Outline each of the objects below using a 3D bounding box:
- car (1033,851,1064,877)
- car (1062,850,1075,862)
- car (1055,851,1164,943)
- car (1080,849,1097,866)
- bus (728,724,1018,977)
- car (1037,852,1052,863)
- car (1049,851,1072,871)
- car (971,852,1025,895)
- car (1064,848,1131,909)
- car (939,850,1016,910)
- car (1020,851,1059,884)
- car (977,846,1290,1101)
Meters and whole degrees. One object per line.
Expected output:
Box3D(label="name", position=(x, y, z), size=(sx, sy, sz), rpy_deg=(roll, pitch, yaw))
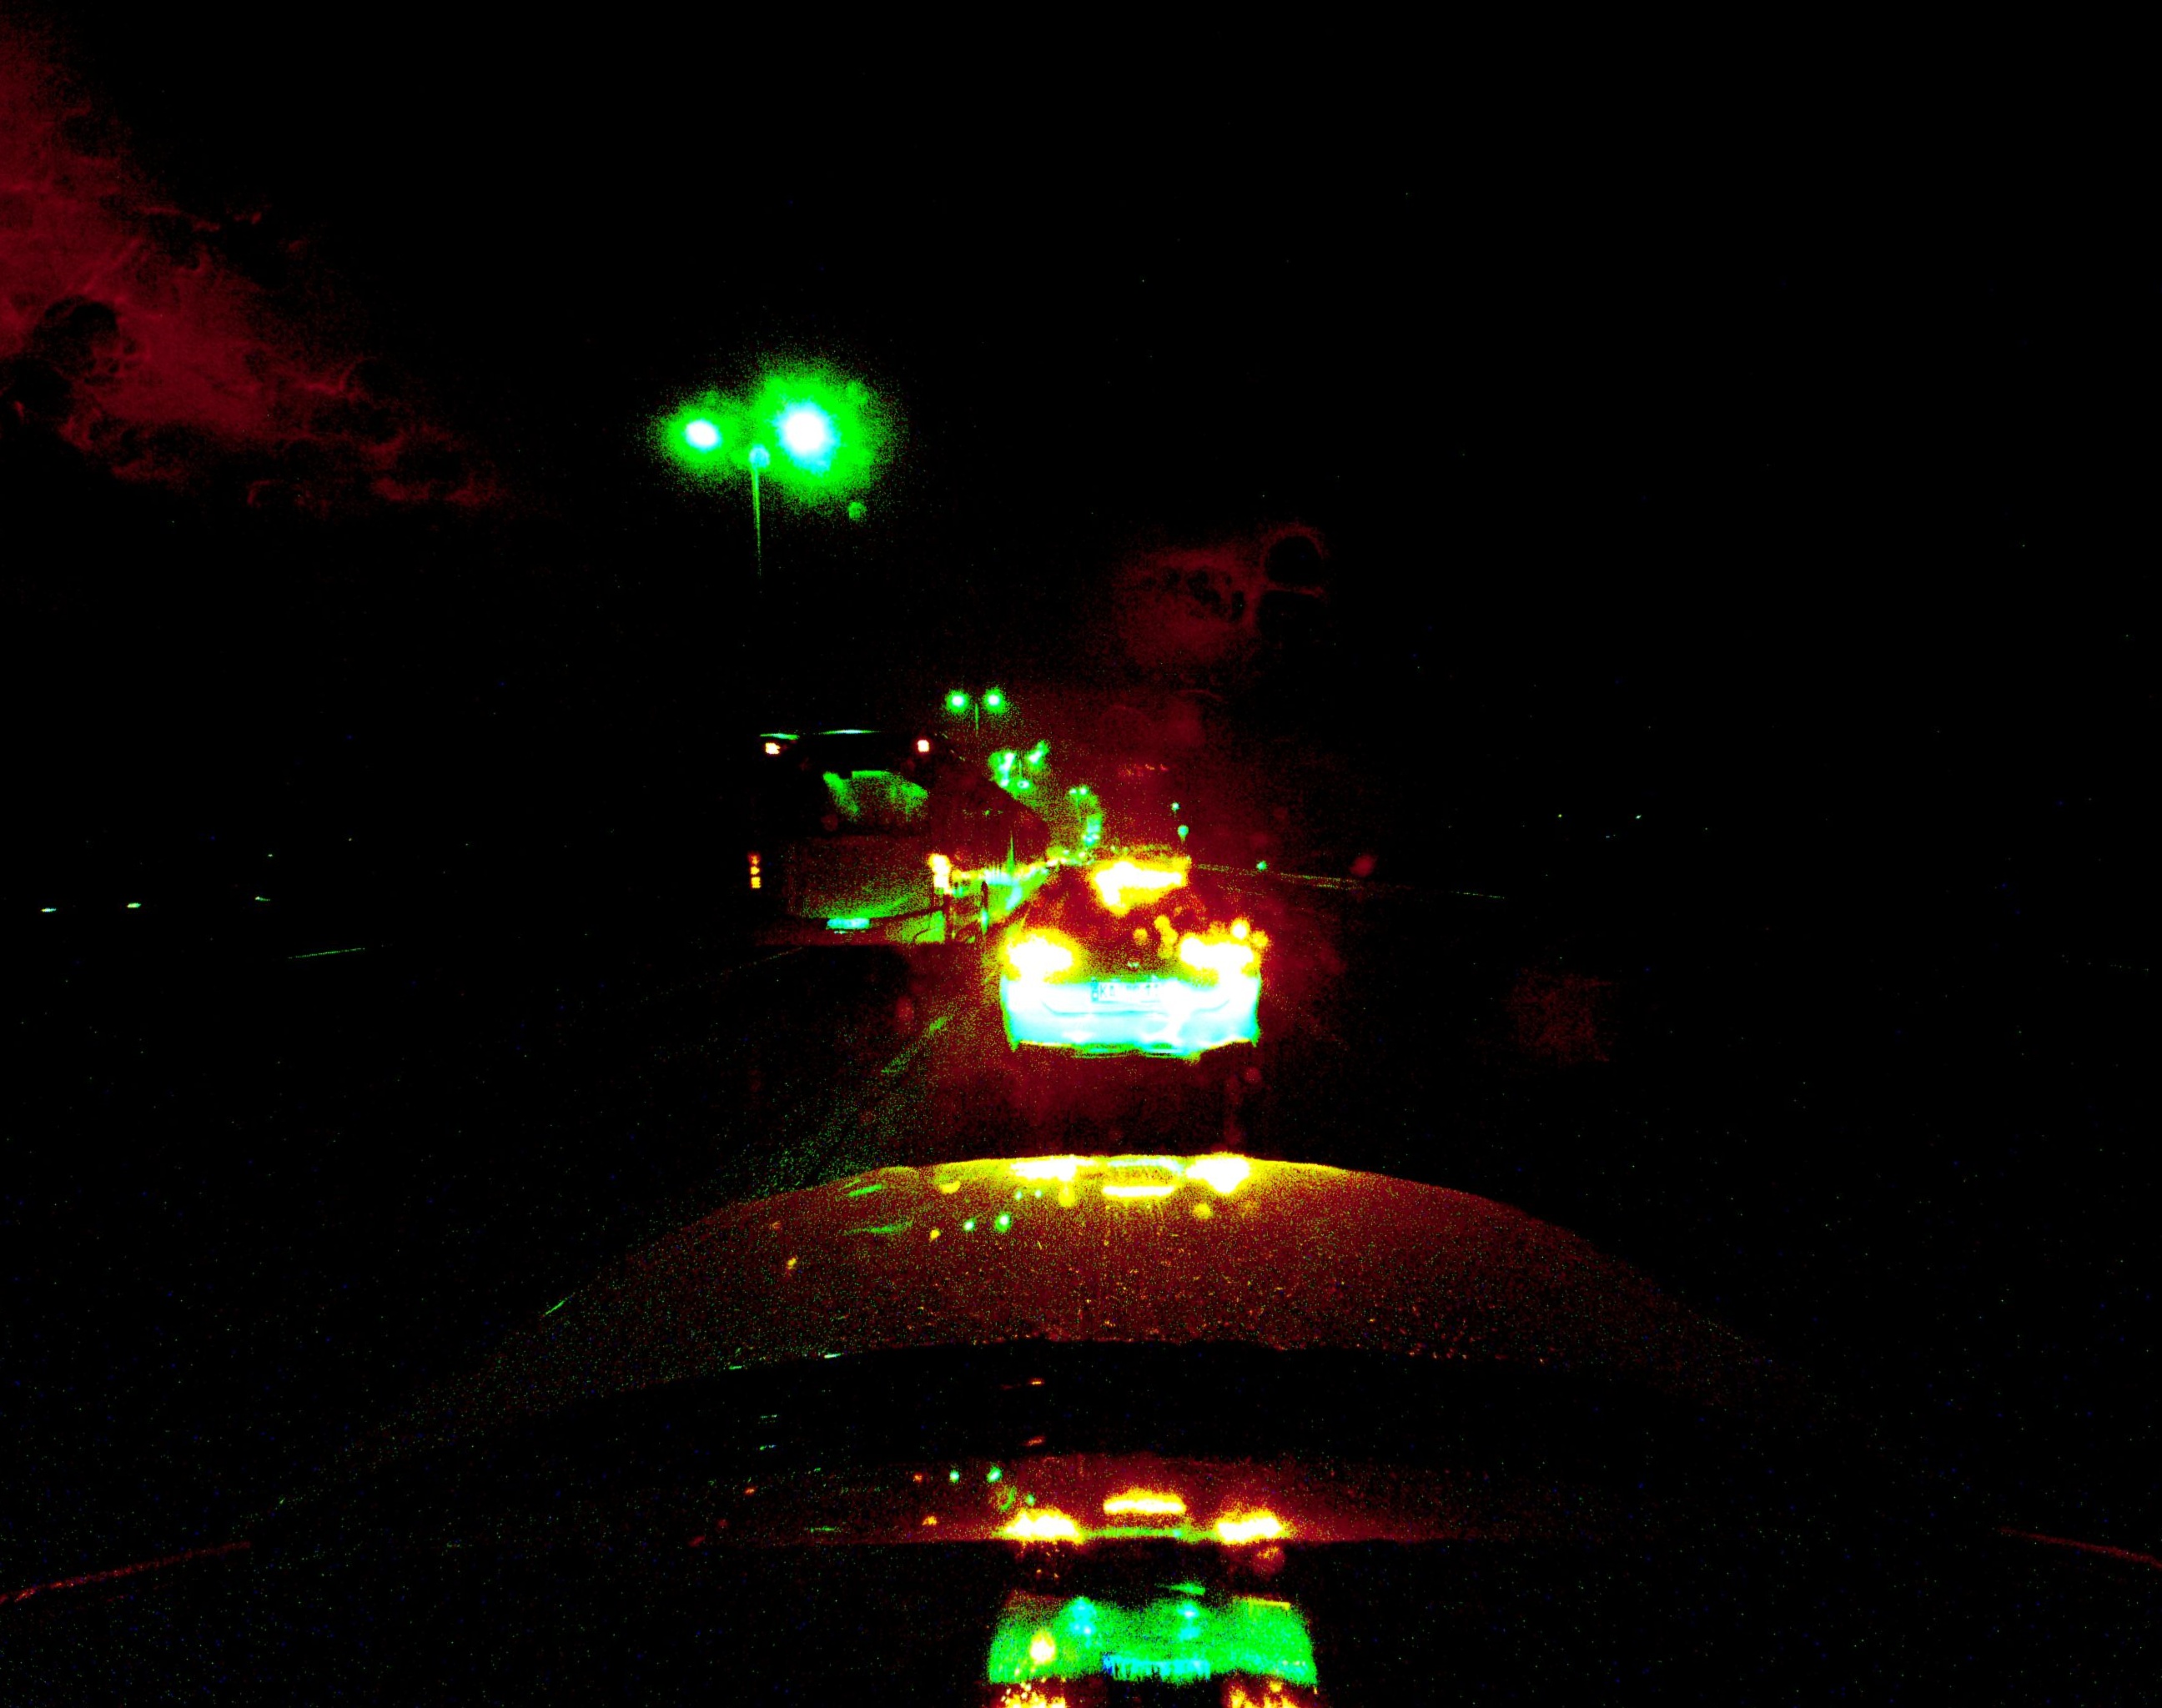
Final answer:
Box3D(label="car", position=(-2.044, 0.603, 51.867), size=(1.774, 1.543, 3.874), rpy_deg=(-1, 0, 0))
Box3D(label="car", position=(-1.857, 0.354, 121.845), size=(1.810, 1.797, 3.804), rpy_deg=(0, 0, 2))
Box3D(label="car", position=(0.454, 0.686, 15.376), size=(1.726, 1.449, 4.724), rpy_deg=(-1, 0, 0))
Box3D(label="car", position=(0.946, 0.424, 102.293), size=(1.986, 2.013, 4.002), rpy_deg=(-1, 0, 2))
Box3D(label="bus", position=(-2.854, -0.061, 14.238), size=(2.806, 3.024, 8.685), rpy_deg=(-1, 0, 0))
Box3D(label="car", position=(-5.610, 0.476, 126.342), size=(1.986, 1.640, 4.002), rpy_deg=(-1, 0, 2))
Box3D(label="car", position=(-1.641, 0.551, 64.897), size=(1.775, 1.543, 3.872), rpy_deg=(-1, 0, -2))
Box3D(label="car", position=(-3.156, 0.695, 31.702), size=(1.775, 1.543, 3.872), rpy_deg=(-1, 0, -2))
Box3D(label="car", position=(0.387, 0.639, 23.265), size=(1.735, 1.565, 3.774), rpy_deg=(-1, 0, -2))
Box3D(label="car", position=(-2.850, 0.679, 23.210), size=(1.775, 1.543, 3.872), rpy_deg=(-1, 0, -2))
Box3D(label="car", position=(-2.046, 0.654, 40.971), size=(1.774, 1.543, 3.873), rpy_deg=(-1, 0, -1))
Box3D(label="car", position=(0.448, 0.704, 7.078), size=(1.814, 1.484, 4.572), rpy_deg=(-1, 0, 4))
